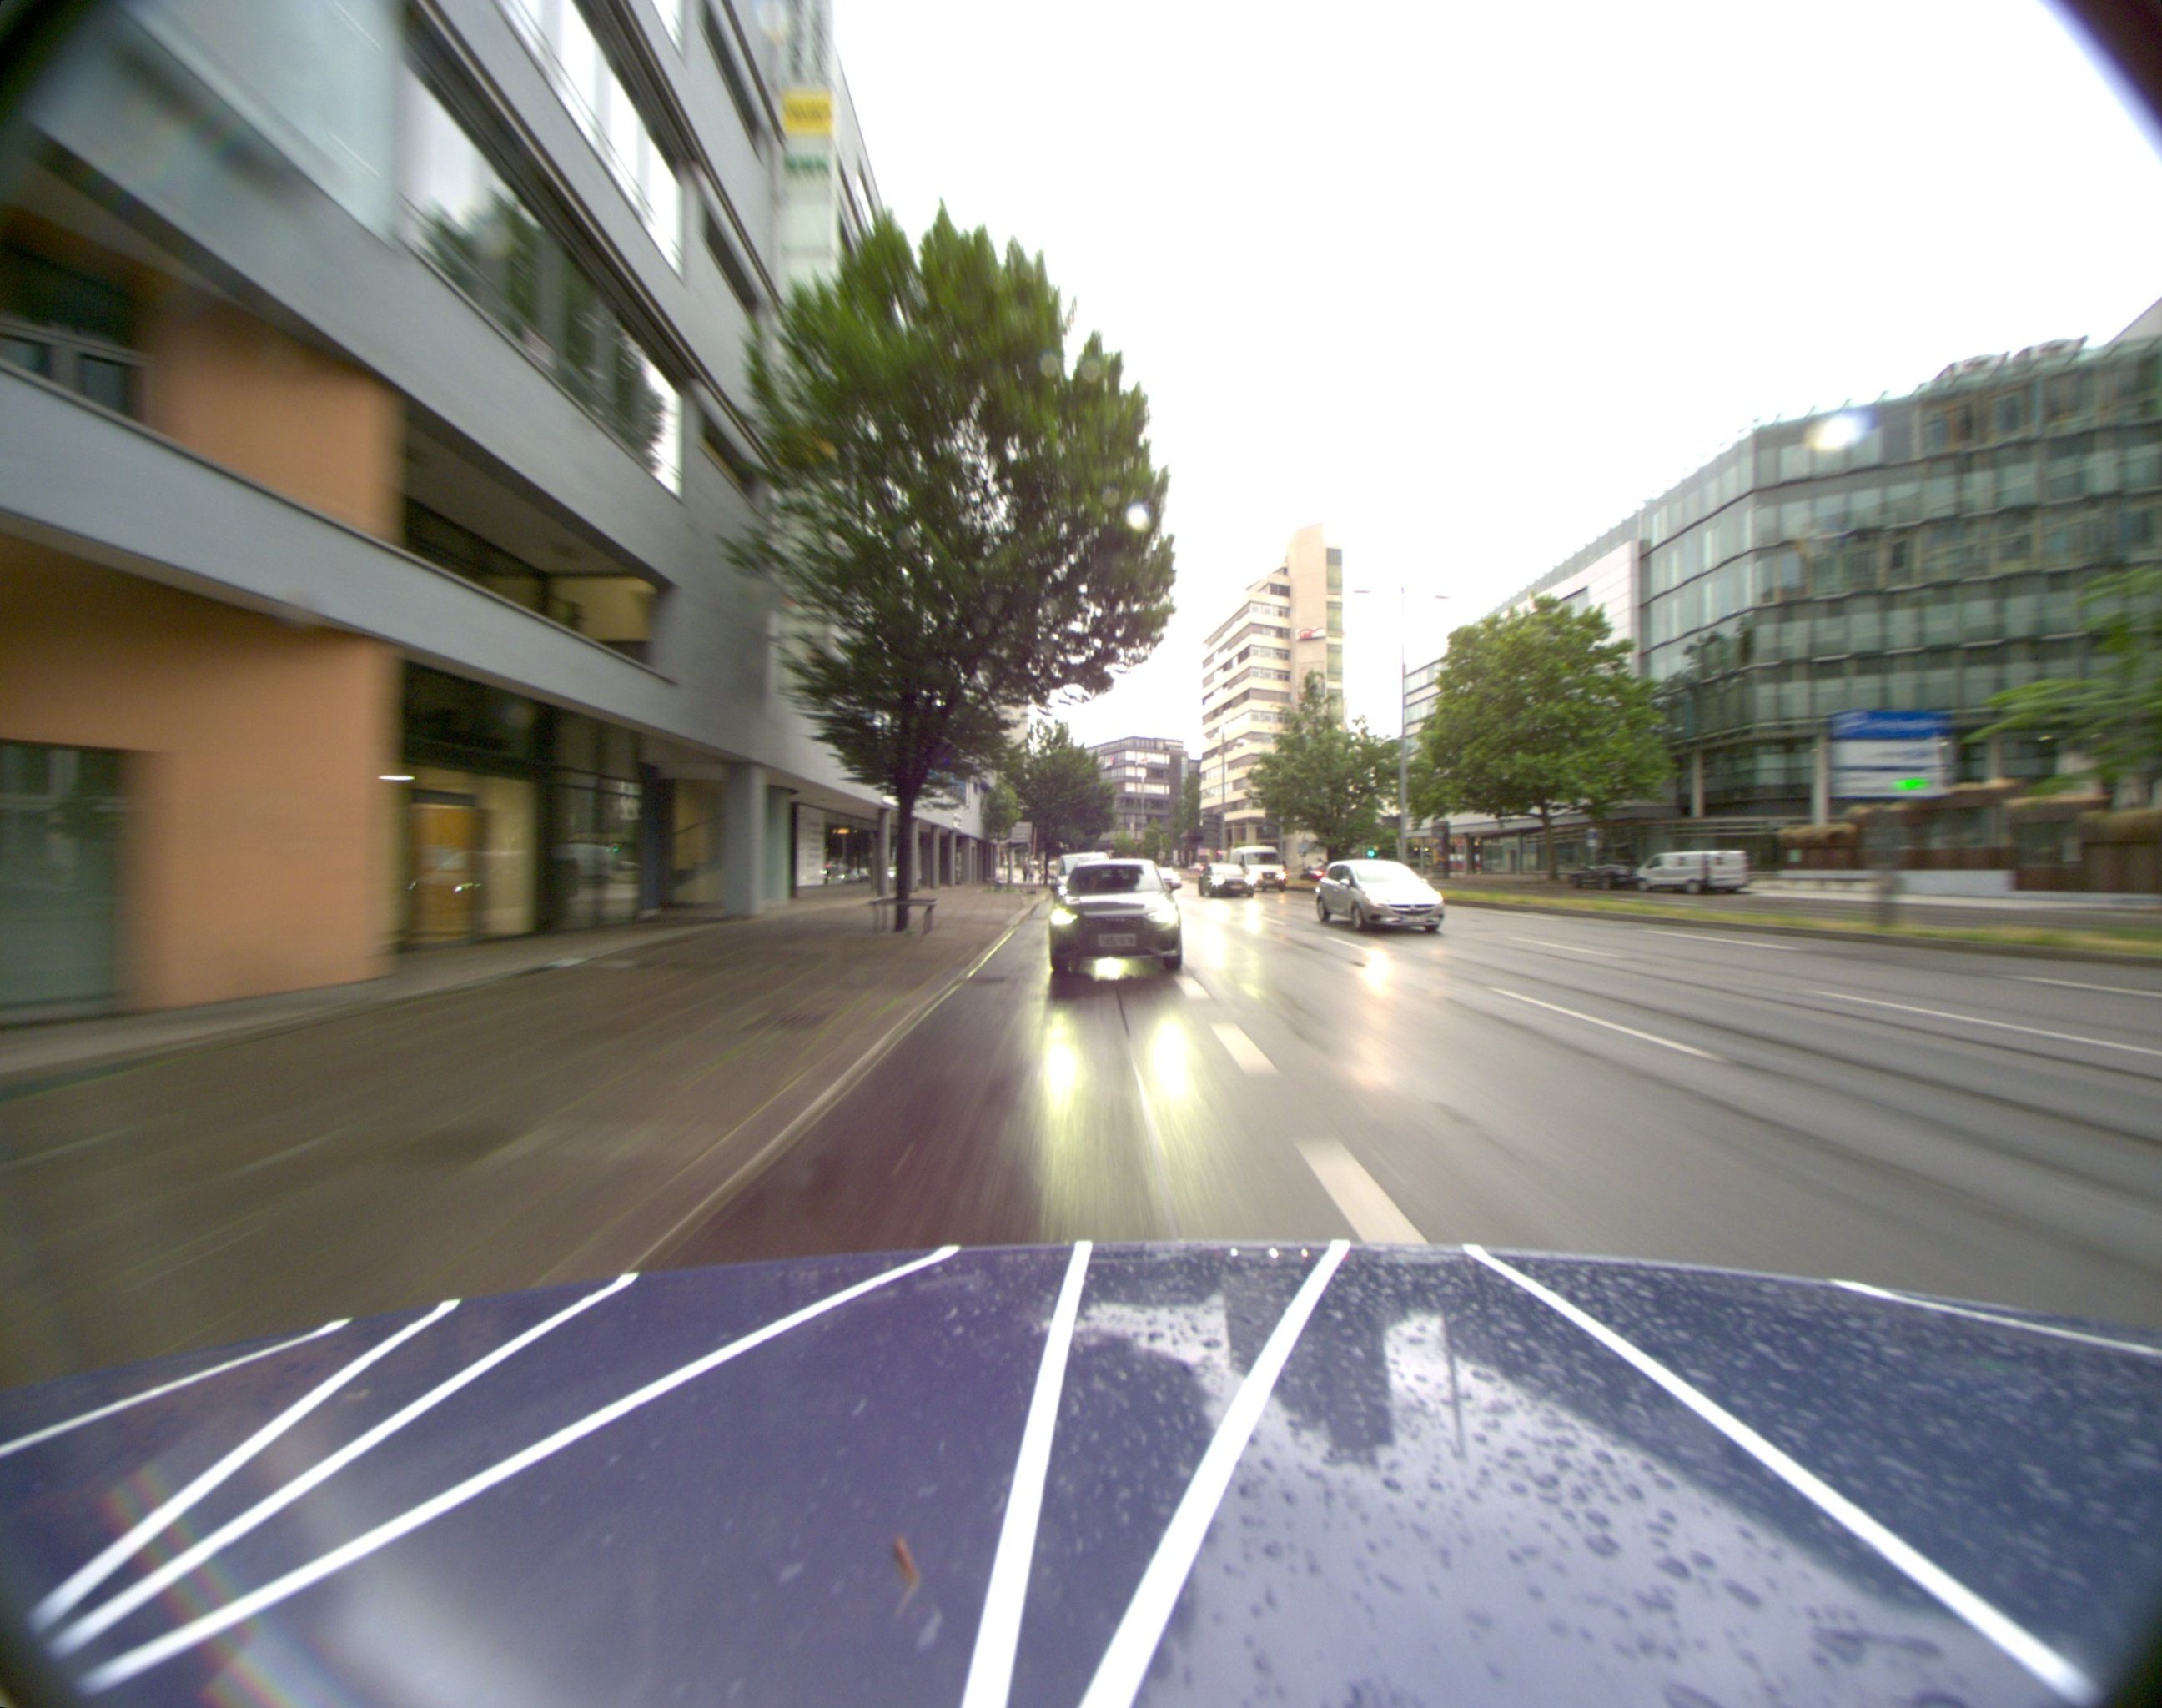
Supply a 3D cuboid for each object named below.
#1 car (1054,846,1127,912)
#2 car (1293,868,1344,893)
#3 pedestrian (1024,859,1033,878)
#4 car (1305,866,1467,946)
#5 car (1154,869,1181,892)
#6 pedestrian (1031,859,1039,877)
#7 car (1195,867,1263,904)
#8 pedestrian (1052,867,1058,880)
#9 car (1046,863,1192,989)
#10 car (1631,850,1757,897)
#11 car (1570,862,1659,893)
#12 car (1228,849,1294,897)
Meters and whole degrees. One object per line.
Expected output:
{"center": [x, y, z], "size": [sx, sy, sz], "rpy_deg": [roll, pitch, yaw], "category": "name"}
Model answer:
{"center": [0.179, 0.725, 24.706], "size": [2.060, 1.881, 5.048], "rpy_deg": [-1, 0, -3], "category": "car"}
{"center": [16.858, 1.839, 54.216], "size": [1.830, 1.622, 4.873], "rpy_deg": [-1, 0, -4], "category": "car"}
{"center": [-5.049, 1.387, 72.647], "size": [0.794, 1.771, 0.895], "rpy_deg": [-1, -1, -3], "category": "pedestrian"}
{"center": [6.548, 1.035, 16.822], "size": [1.774, 1.470, 4.126], "rpy_deg": [-1, 0, -2], "category": "car"}
{"center": [6.461, 1.962, 56.877], "size": [1.784, 1.499, 4.001], "rpy_deg": [-1, 0, 4], "category": "car"}
{"center": [-4.476, 1.347, 74.284], "size": [0.641, 1.771, 0.880], "rpy_deg": [-1, -1, 0], "category": "pedestrian"}
{"center": [6.231, 1.279, 32.425], "size": [1.905, 1.393, 4.240], "rpy_deg": [-1, 0, -2], "category": "car"}
{"center": [-3.215, 2.461, 95.299], "size": [0.654, 1.588, 1.058], "rpy_deg": [-1, 0, -5], "category": "pedestrian"}
{"center": [0.791, 0.961, 11.960], "size": [1.800, 1.543, 4.391], "rpy_deg": [-1, 0, 9], "category": "car"}
{"center": [28.706, 0.854, 35.815], "size": [1.998, 2.002, 4.916], "rpy_deg": [-1, 0, 1], "category": "car"}
{"center": [28.698, 1.236, 41.049], "size": [1.802, 1.520, 4.286], "rpy_deg": [-1, 0, 1], "category": "car"}
{"center": [9.620, 0.947, 41.170], "size": [2.259, 2.371, 5.719], "rpy_deg": [-1, 0, 0], "category": "car"}
